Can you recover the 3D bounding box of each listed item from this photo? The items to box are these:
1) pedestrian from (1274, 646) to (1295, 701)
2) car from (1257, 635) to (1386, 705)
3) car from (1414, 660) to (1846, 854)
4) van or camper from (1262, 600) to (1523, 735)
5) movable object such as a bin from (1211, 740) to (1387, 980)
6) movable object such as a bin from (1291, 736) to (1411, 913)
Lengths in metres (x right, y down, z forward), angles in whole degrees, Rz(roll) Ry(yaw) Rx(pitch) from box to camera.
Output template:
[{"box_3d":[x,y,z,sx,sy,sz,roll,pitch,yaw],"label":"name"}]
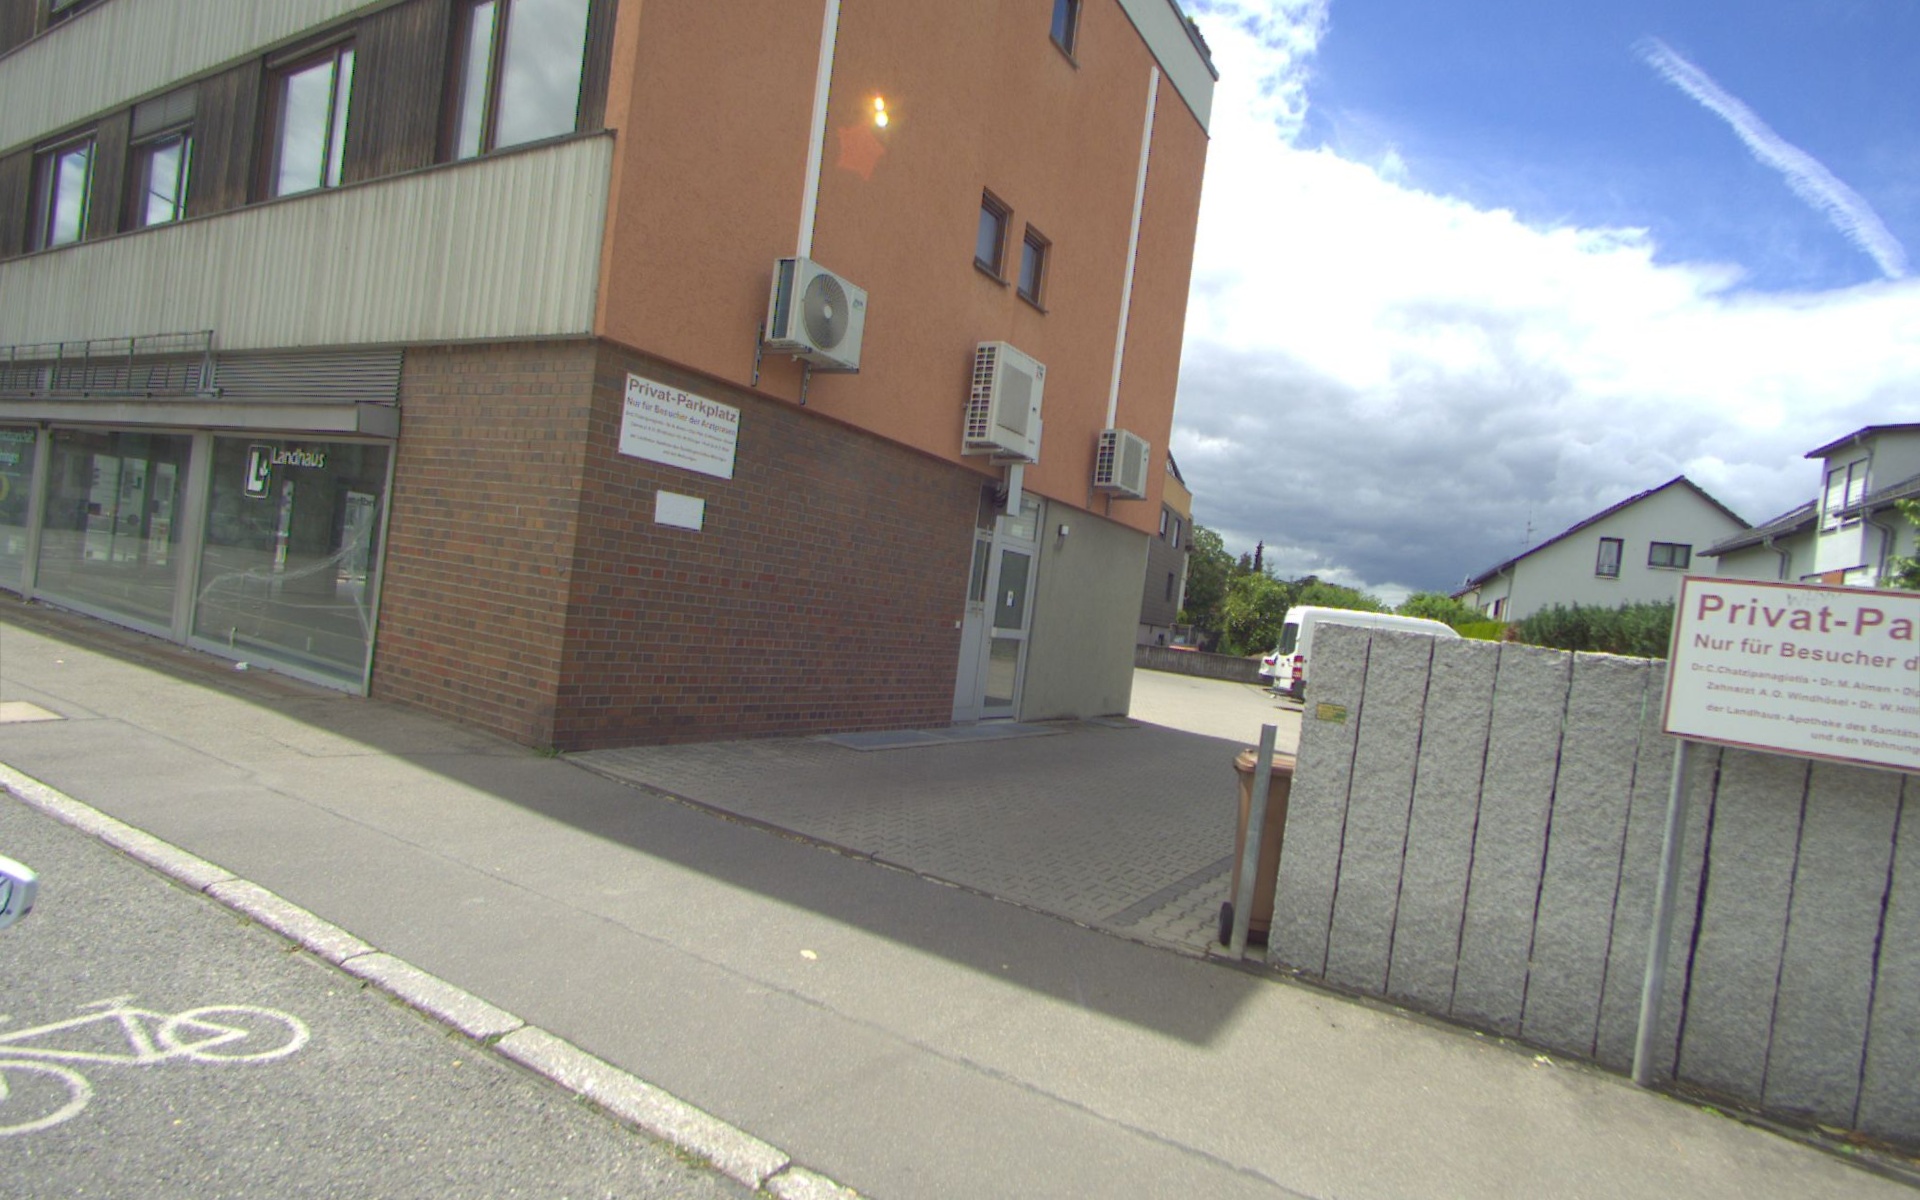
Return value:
[{"box_3d":[10.110,2.293,31.347,0.434,1.639,0.529,7,-1,17],"label":"pedestrian"},{"box_3d":[12.412,2.413,34.795,3.924,1.792,1.828,7,-2,16],"label":"car"},{"box_3d":[7.725,1.760,11.937,3.725,1.554,1.788,7,0,5],"label":"car"},{"box_3d":[10.711,1.644,25.275,5.409,2.574,2.059,7,0,3],"label":"van or camper"},{"box_3d":[1.657,1.243,4.969,0.674,0.962,0.534,7,0,17],"label":"movable object such as a bin"},{"box_3d":[2.399,1.361,6.222,0.530,0.923,0.494,7,0,14],"label":"movable object such as a bin"}]
